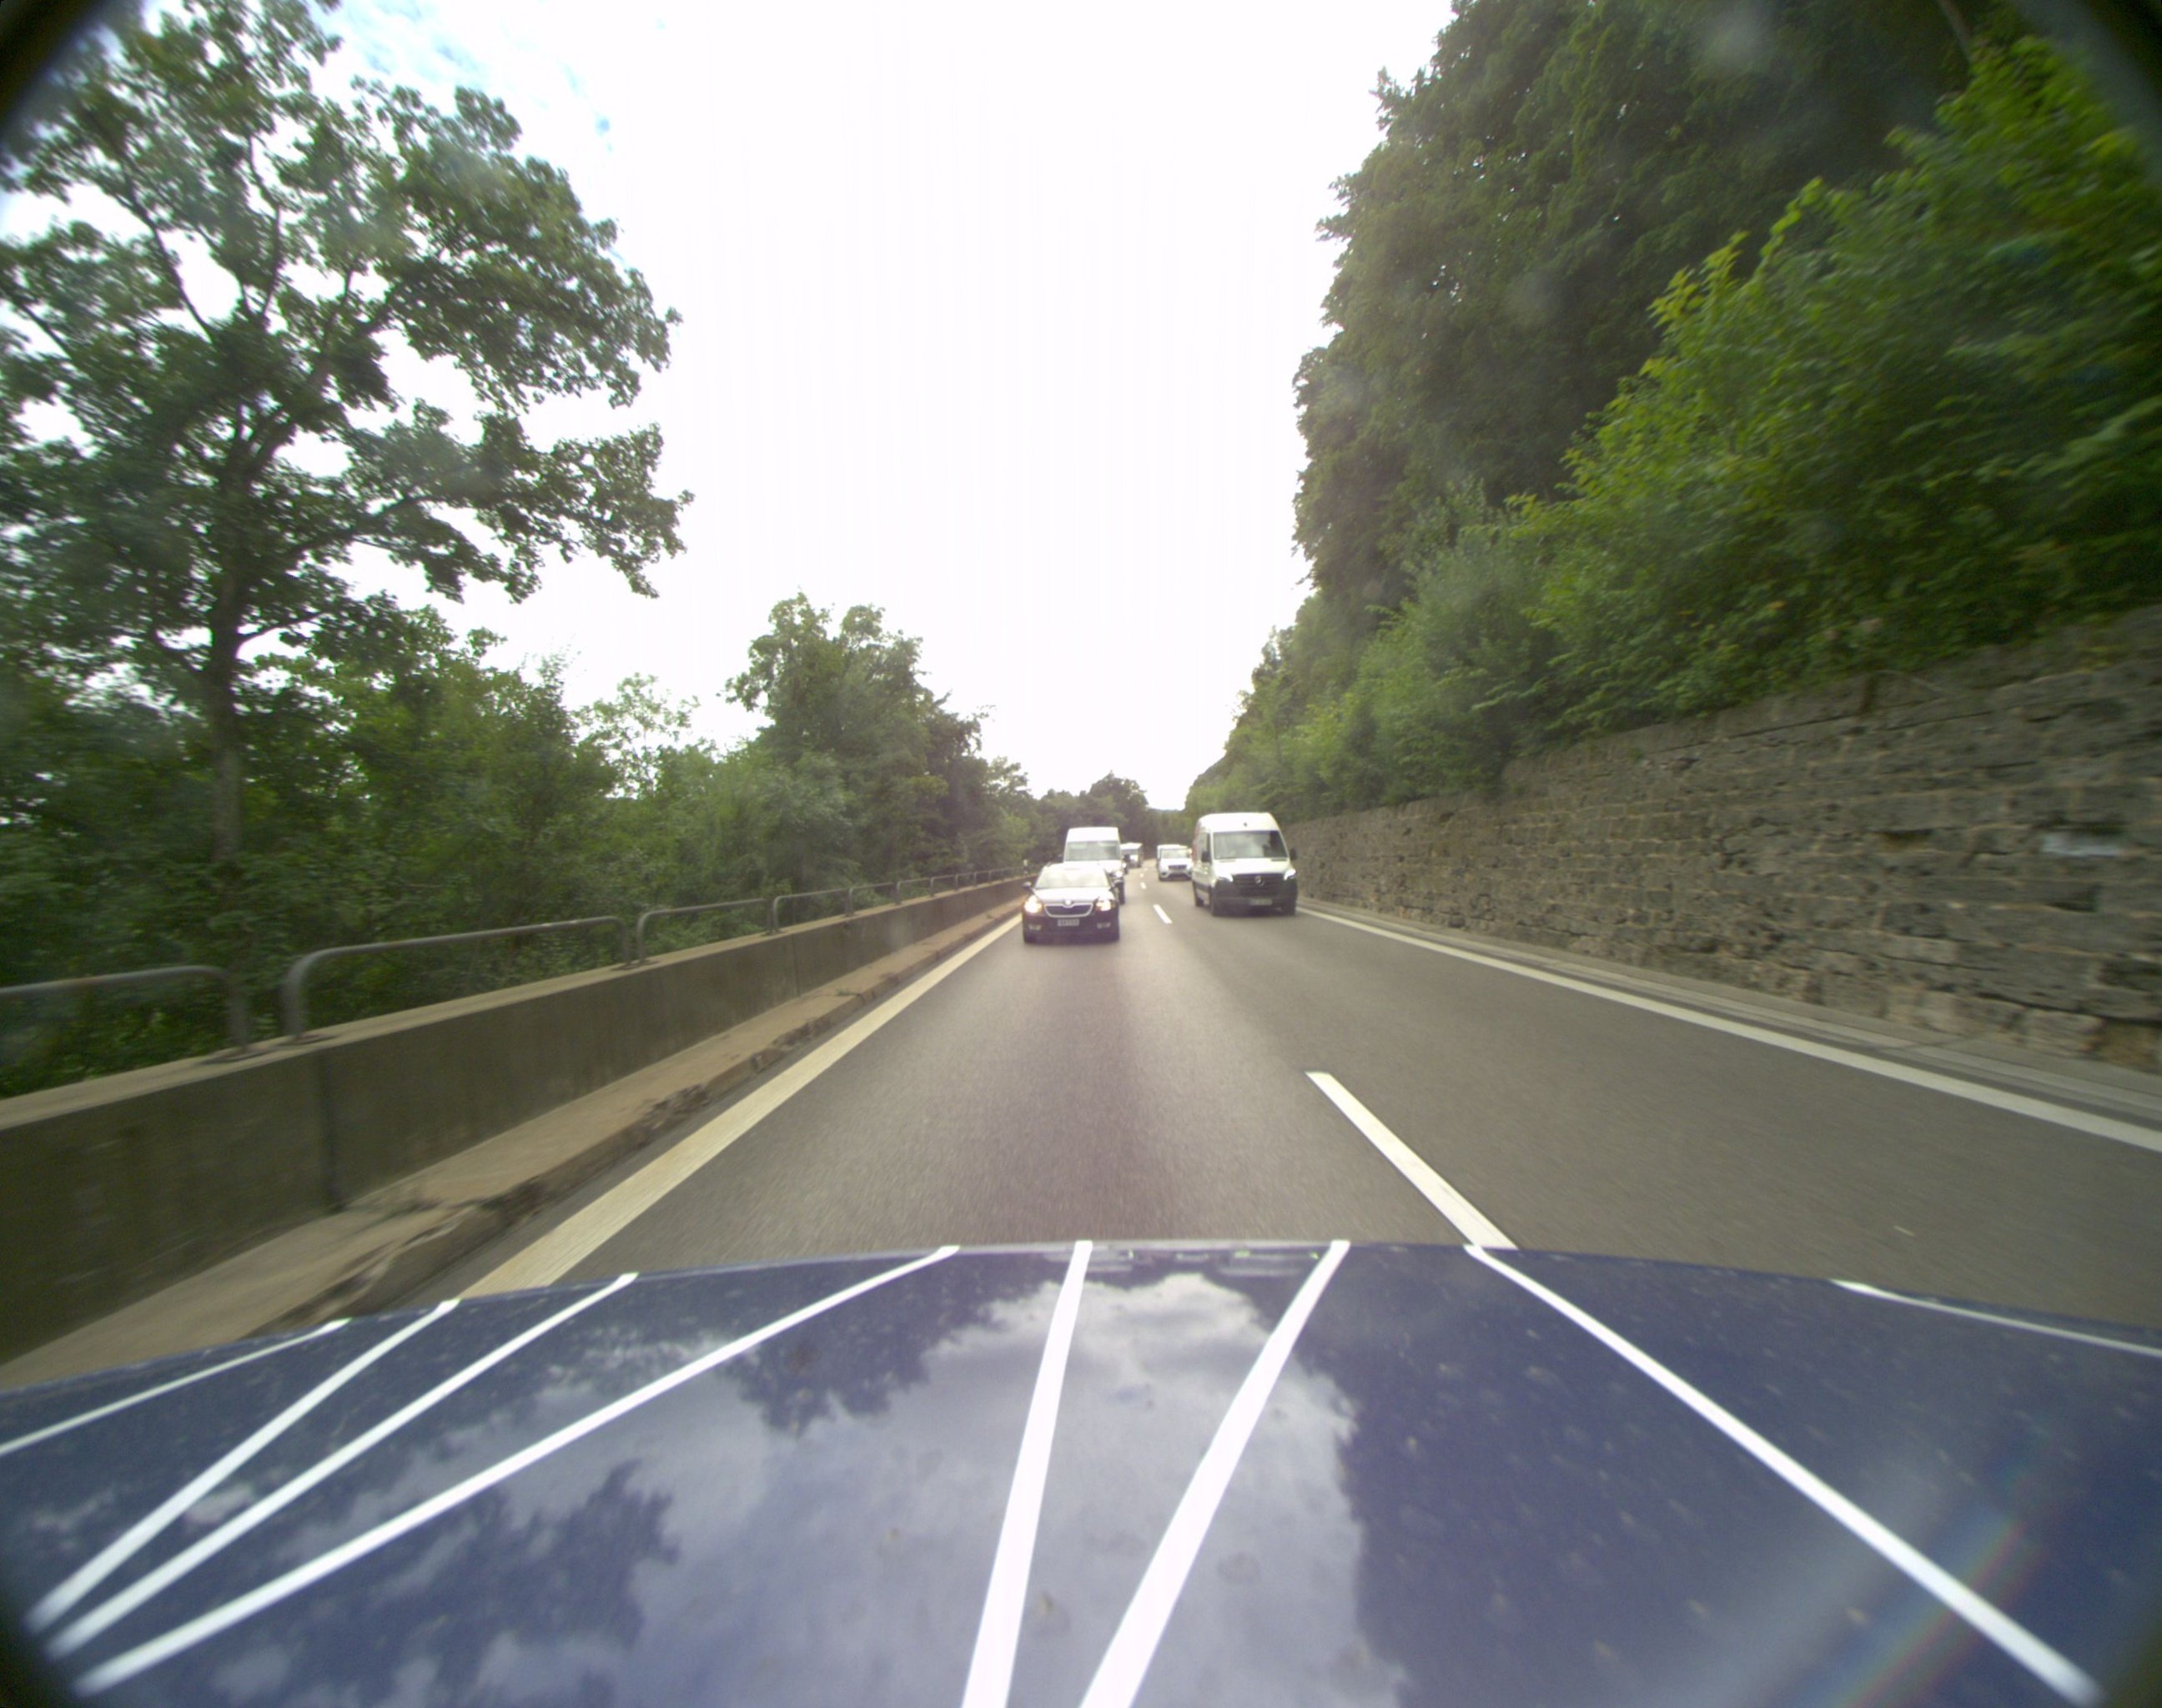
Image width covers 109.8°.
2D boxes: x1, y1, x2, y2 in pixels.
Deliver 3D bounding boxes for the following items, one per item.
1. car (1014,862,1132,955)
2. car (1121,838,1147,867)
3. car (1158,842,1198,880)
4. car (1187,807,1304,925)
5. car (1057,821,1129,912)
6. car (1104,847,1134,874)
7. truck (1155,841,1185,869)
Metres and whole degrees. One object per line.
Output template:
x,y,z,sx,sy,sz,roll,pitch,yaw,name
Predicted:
-0.233,0.955,15.780,1.913,1.391,5.695,-4,0,-2,car
5.862,-0.190,83.725,2.275,2.941,7.189,-2,1,8,car
5.555,0.364,44.144,1.998,1.941,6.150,-4,0,6,car
4.109,0.236,20.132,2.030,2.570,6.275,-2,1,4,car
0.478,0.328,24.963,1.998,2.550,5.918,-2,1,3,car
3.072,0.498,60.464,1.997,1.871,4.001,-3,1,8,car
7.813,0.047,66.284,1.997,2.266,6.590,-4,0,11,truck
